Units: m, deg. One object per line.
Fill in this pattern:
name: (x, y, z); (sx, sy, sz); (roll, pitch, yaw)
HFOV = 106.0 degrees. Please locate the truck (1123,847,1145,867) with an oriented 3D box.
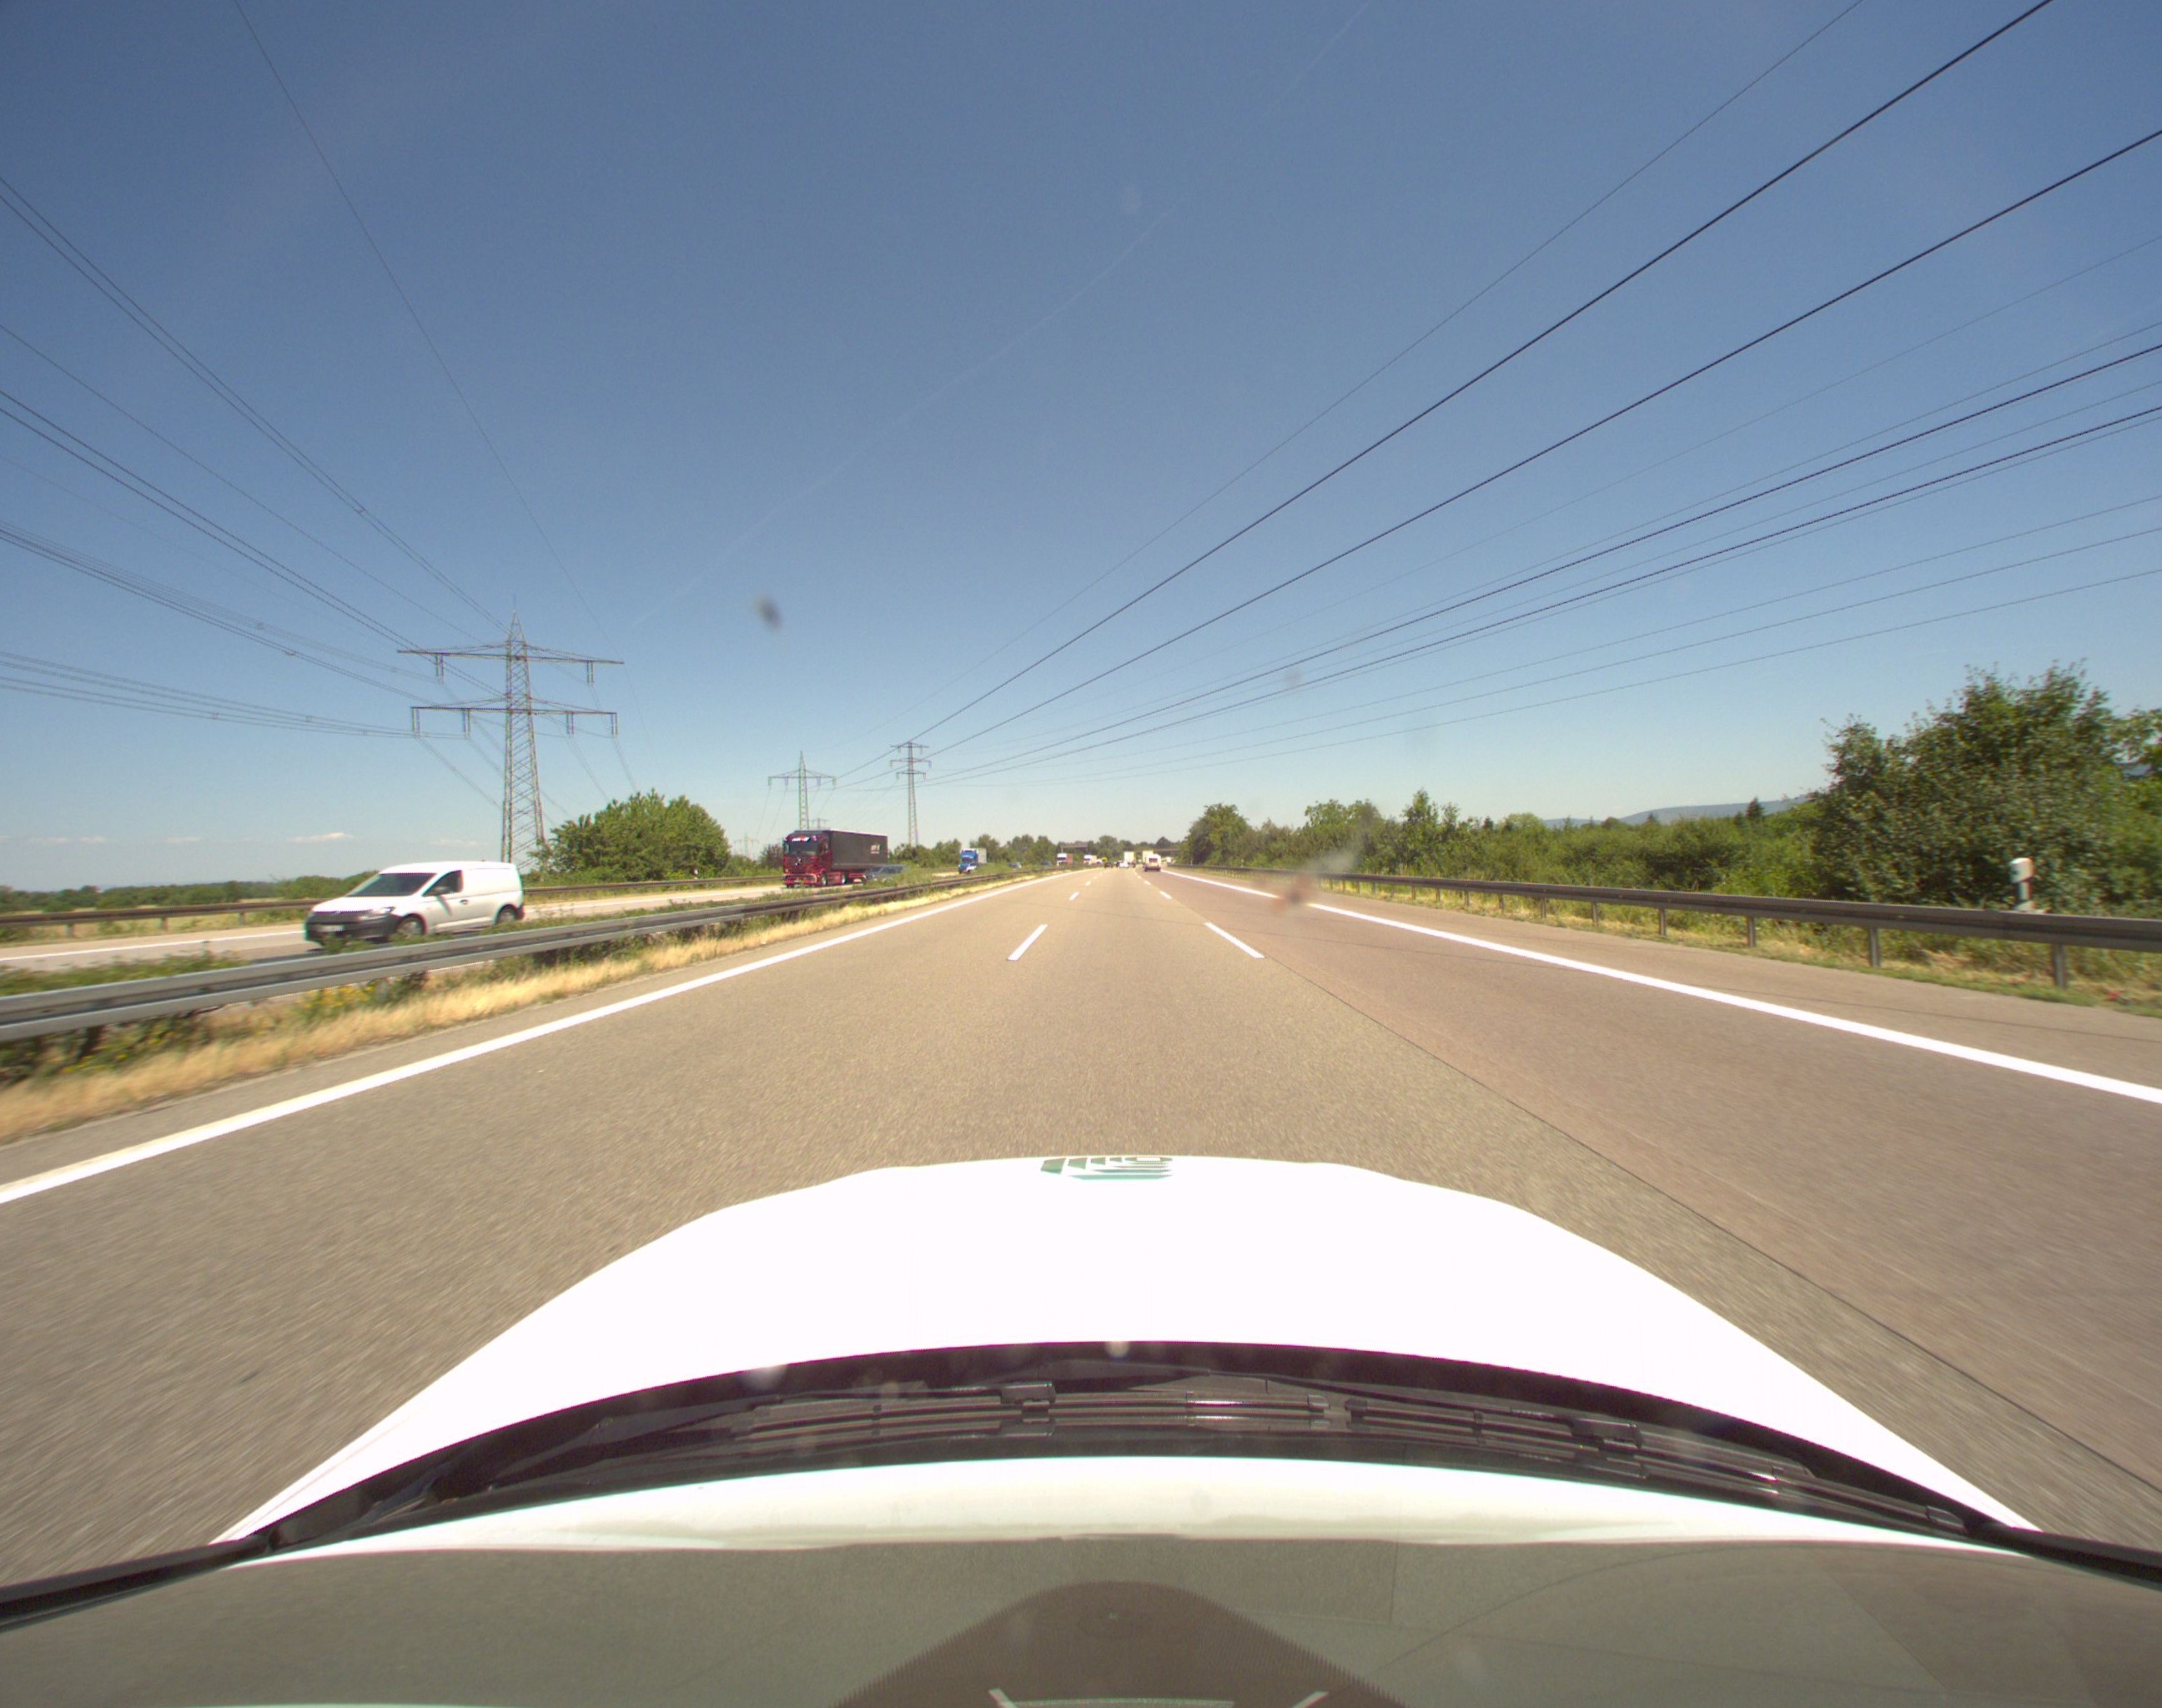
truck: (13.685, 0.624, 208.445); (3.642, 5.018, 16.068); (-1, 0, 12)

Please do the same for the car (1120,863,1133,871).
car: (9.238, 2.610, 164.685); (1.814, 1.547, 4.337); (0, 0, 16)

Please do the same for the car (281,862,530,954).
car: (-15.183, 1.128, 18.714); (1.964, 1.773, 4.370); (-1, 0, 2)

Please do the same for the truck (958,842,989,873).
truck: (-15.060, 0.465, 114.407); (2.444, 3.976, 9.677); (-3, 0, 2)

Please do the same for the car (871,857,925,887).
car: (-10.725, 1.038, 48.212); (1.821, 1.619, 5.021); (-1, 0, 3)

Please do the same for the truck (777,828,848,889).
truck: (-18.411, 0.289, 56.260); (2.638, 3.982, 5.995); (-1, 0, 2)

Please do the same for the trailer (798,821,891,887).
trailer: (-18.108, -0.050, 63.770); (2.638, 4.552, 13.873); (-1, 0, 2)

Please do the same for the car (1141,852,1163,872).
car: (9.021, 1.024, 103.736); (2.433, 2.321, 5.323); (-2, 0, 1)

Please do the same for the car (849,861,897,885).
car: (-14.878, 1.325, 58.424); (1.936, 1.617, 5.020); (-1, 0, 2)

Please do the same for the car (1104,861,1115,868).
car: (6.281, 2.228, 179.702); (1.816, 1.547, 4.332); (0, 0, 11)

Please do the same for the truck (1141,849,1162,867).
truck: (17.518, 0.917, 200.427); (3.160, 4.304, 16.070); (-1, 0, 12)

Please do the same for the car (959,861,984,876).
car: (-12.598, 1.677, 93.695); (1.985, 1.617, 5.020); (-1, 0, 2)
